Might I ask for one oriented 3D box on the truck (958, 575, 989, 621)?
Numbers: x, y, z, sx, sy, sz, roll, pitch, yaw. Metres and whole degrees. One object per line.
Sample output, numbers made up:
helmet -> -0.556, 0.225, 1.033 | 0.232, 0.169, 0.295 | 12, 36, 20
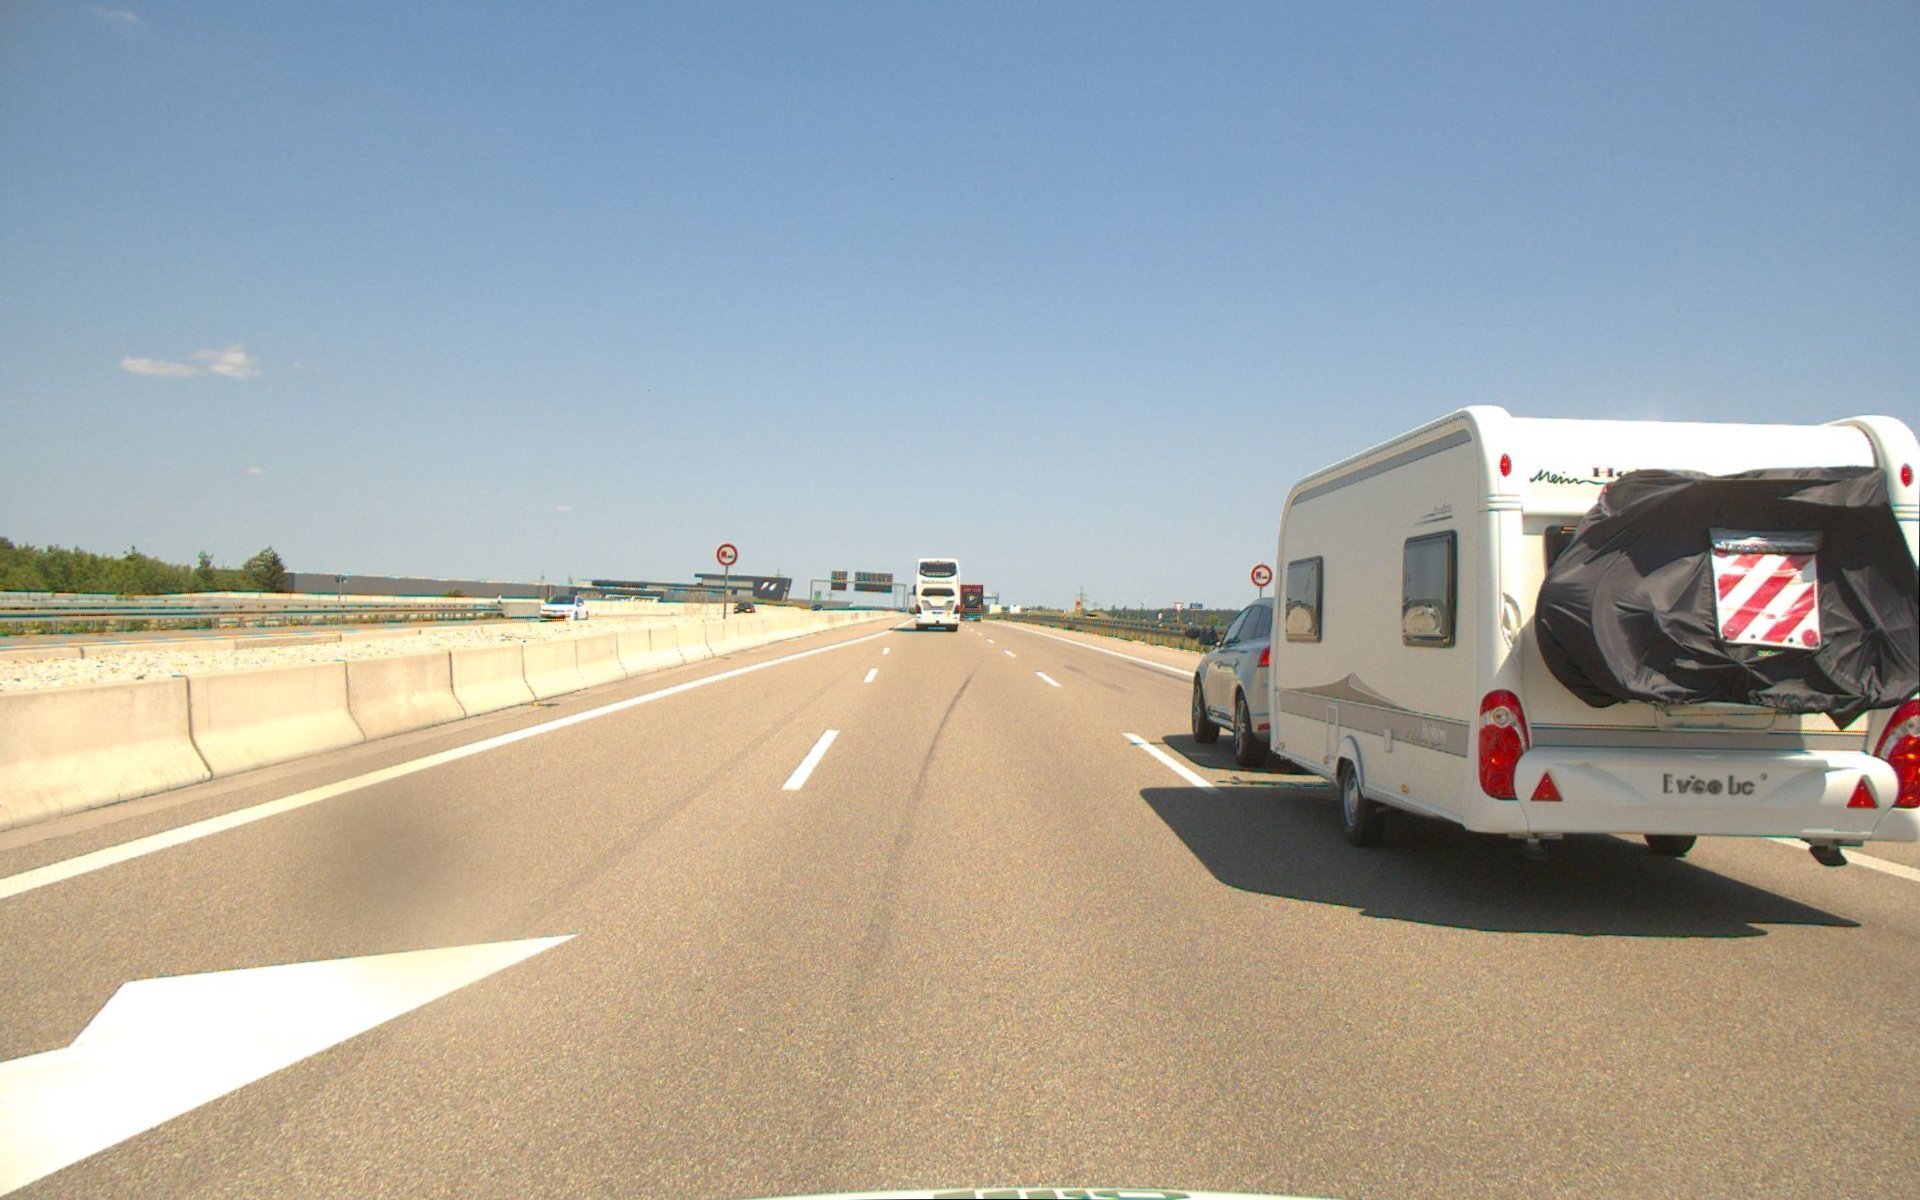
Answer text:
truck -> 1.506, -0.160, 190.124 | 3.310, 4.542, 13.564 | 2, -3, 0

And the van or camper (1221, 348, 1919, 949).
van or camper -> 3.707, 0.216, 11.271 | 2.461, 2.638, 7.816 | 1, 0, -1

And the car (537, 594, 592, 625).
car -> -19.797, 0.461, 82.953 | 1.773, 1.460, 4.439 | 1, 0, -2

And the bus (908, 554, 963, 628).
bus -> -1.494, -0.523, 96.732 | 2.920, 4.044, 9.100 | 1, 0, -2

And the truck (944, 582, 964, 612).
truck -> -0.771, -0.445, 218.481 | 2.388, 3.855, 6.490 | 1, 0, -2

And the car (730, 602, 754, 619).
car -> -21.052, 1.041, 159.645 | 1.697, 1.563, 4.547 | 1, 0, -1

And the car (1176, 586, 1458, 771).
car -> 3.591, 0.721, 17.586 | 1.842, 1.651, 4.903 | 1, 0, -1

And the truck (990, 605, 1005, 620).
truck -> 5.084, 1.690, 224.594 | 1.953, 2.049, 3.999 | 1, 0, -1
